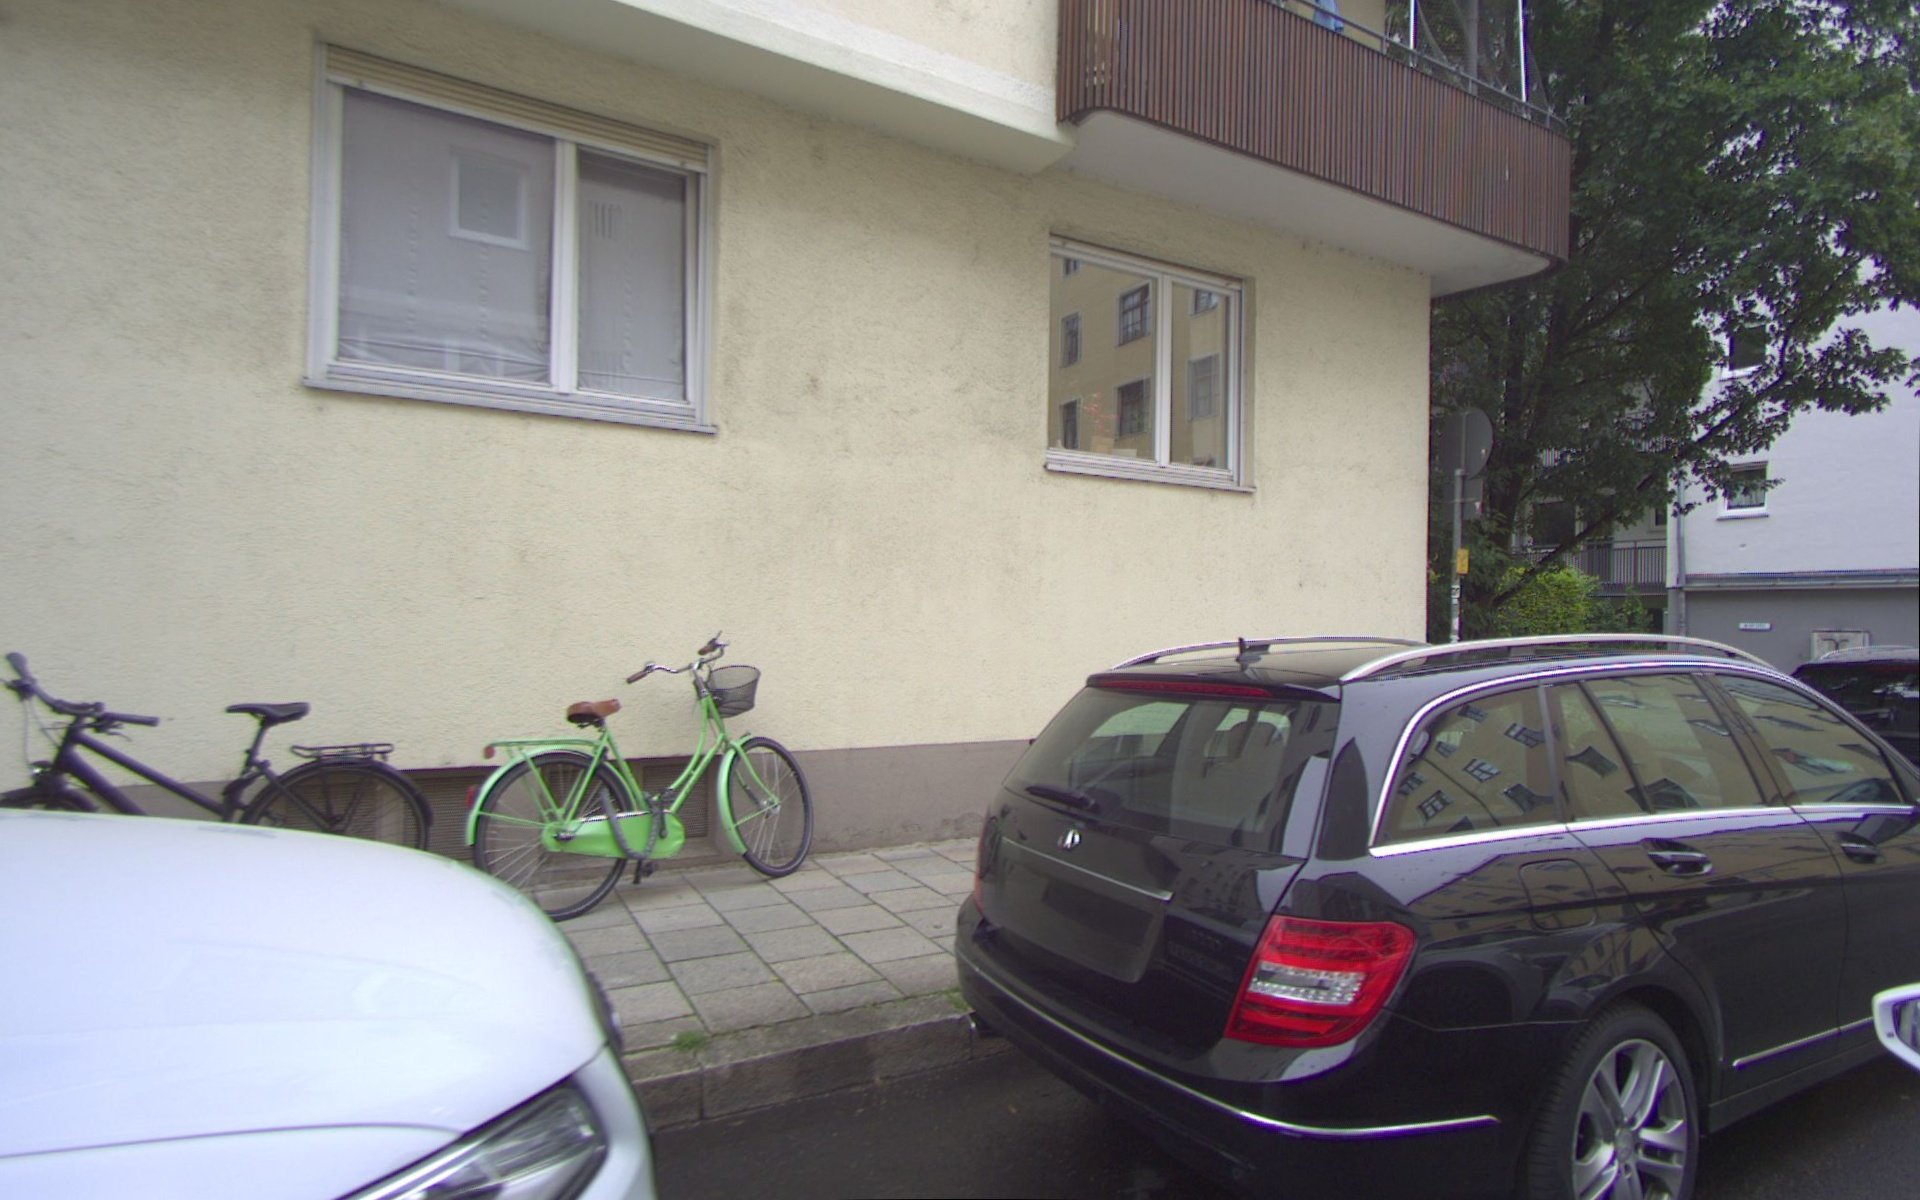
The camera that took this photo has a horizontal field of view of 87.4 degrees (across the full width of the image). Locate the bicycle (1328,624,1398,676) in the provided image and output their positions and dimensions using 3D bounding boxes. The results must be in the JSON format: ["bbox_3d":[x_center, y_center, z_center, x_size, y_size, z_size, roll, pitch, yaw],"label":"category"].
[{"bbox_3d":[8.445,1.028,21.039,1.589,1.052,0.511,1,-1,-30],"label":"bicycle"}]

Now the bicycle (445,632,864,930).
[{"bbox_3d":[-1.392,0.757,4.696,1.767,1.176,0.642,2,-3,-29],"label":"bicycle"}]

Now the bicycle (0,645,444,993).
[{"bbox_3d":[-3.011,0.772,3.887,1.767,1.176,0.579,2,-3,-29],"label":"bicycle"}]

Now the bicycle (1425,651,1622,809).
[{"bbox_3d":[4.600,1.010,8.168,1.767,1.176,0.533,2,-3,-29],"label":"bicycle"}]

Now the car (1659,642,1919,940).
[{"bbox_3d":[6.423,0.984,6.093,4.328,1.427,1.848,2,-2,-29],"label":"car"}]

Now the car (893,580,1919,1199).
[{"bbox_3d":[2.116,0.811,3.552,4.368,1.502,1.759,2,-2,-28],"label":"car"}]

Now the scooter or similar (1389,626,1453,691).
[{"bbox_3d":[9.111,1.142,19.835,1.527,1.260,0.343,1,-1,-31],"label":"scooter or similar"}]

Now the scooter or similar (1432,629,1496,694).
[{"bbox_3d":[9.656,1.165,19.233,1.552,1.218,0.319,1,-1,-31],"label":"scooter or similar"}]

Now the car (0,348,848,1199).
[{"bbox_3d":[-2.436,0.619,0.837,4.316,1.697,1.758,2,-2,-30],"label":"car"}]
